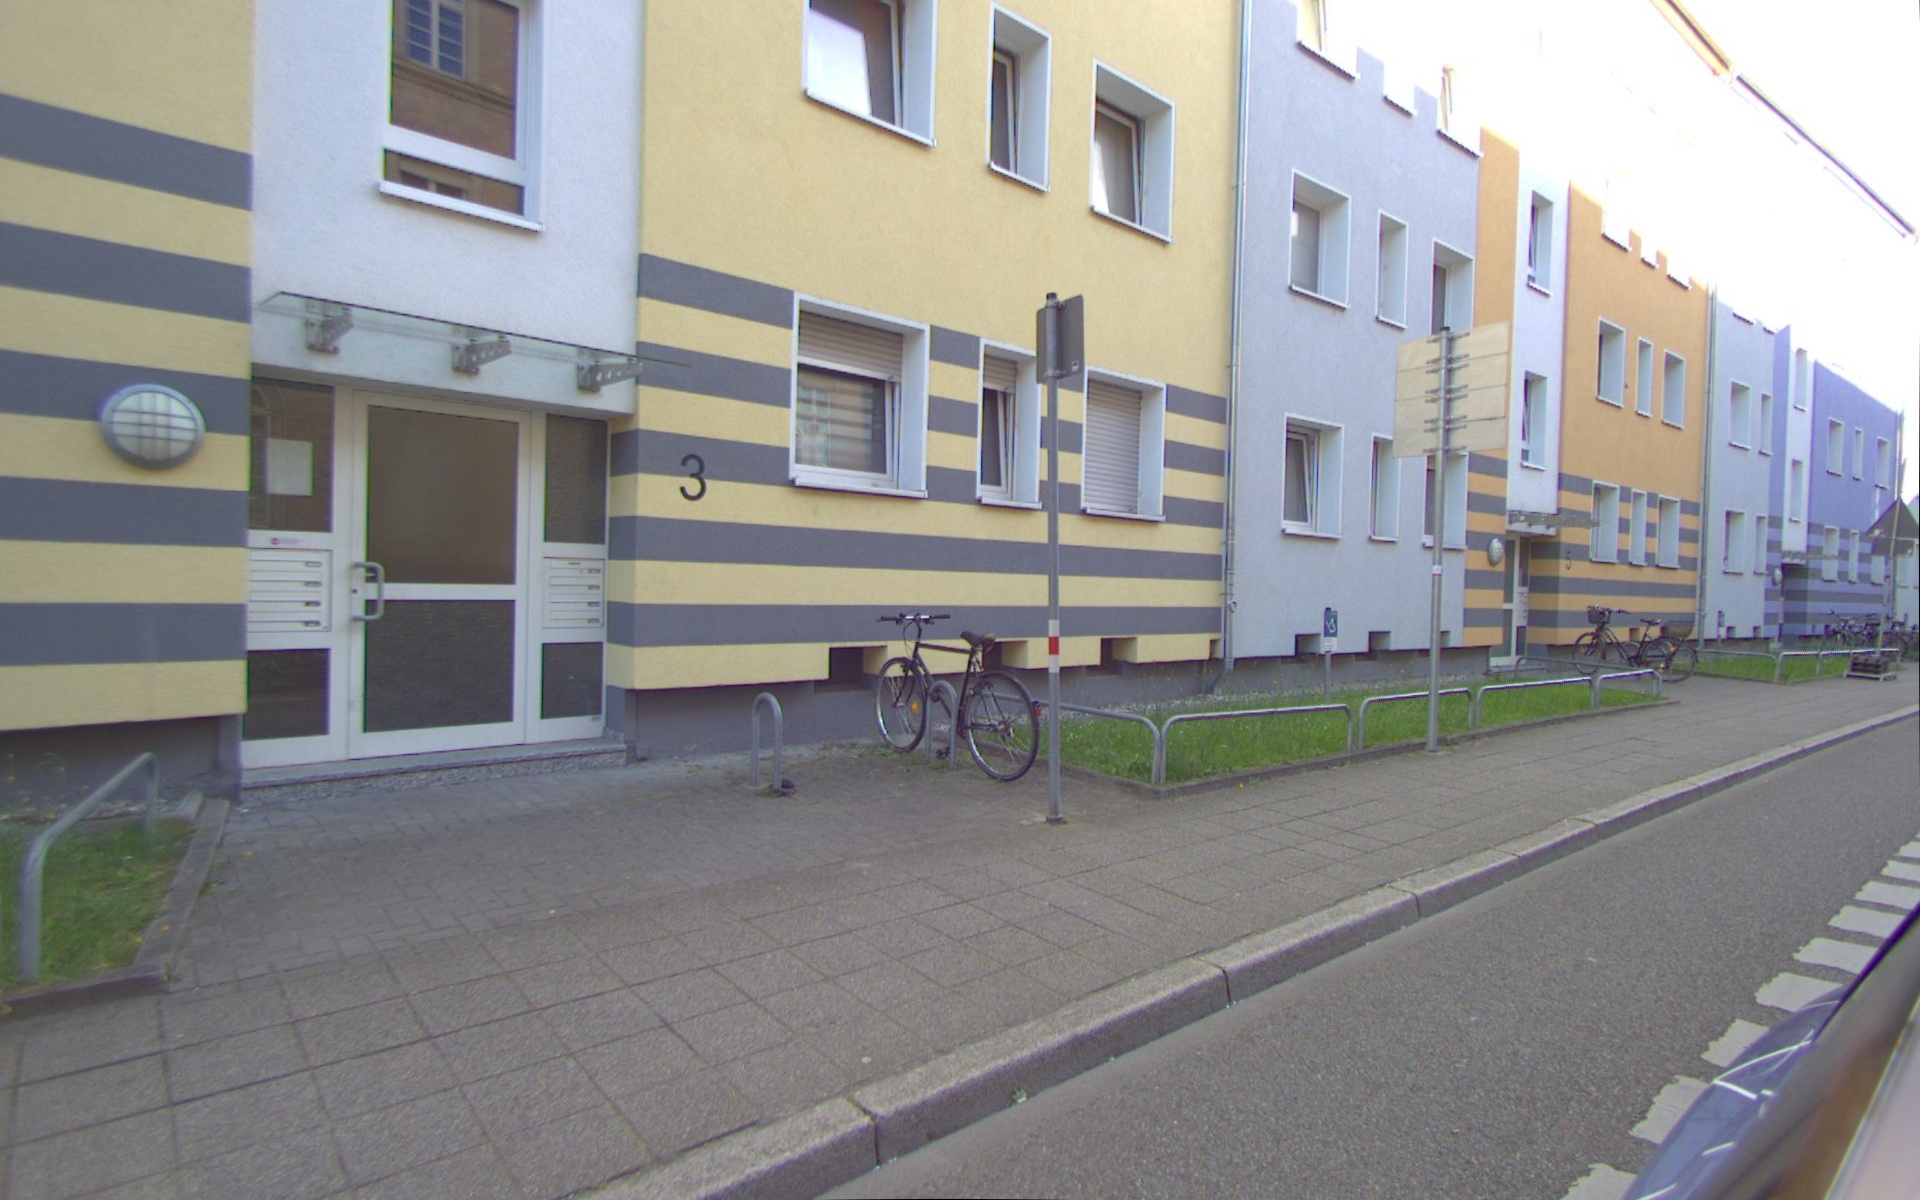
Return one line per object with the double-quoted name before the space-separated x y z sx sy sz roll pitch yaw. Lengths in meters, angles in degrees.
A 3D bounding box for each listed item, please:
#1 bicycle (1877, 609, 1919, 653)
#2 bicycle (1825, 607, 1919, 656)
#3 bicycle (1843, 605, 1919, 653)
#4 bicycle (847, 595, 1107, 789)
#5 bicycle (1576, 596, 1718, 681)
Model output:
"bicycle" 24.176 0.806 25.345 0.625 1.048 1.709 1 3 -42
"bicycle" 22.289 0.745 24.676 0.624 1.058 1.711 1 2 -39
"bicycle" 23.258 0.716 25.271 0.625 1.095 1.711 1 2 -40
"bicycle" 0.052 0.556 7.055 0.625 1.074 1.946 1 3 -42
"bicycle" 10.747 0.577 15.873 0.625 1.173 1.709 1 3 -42
